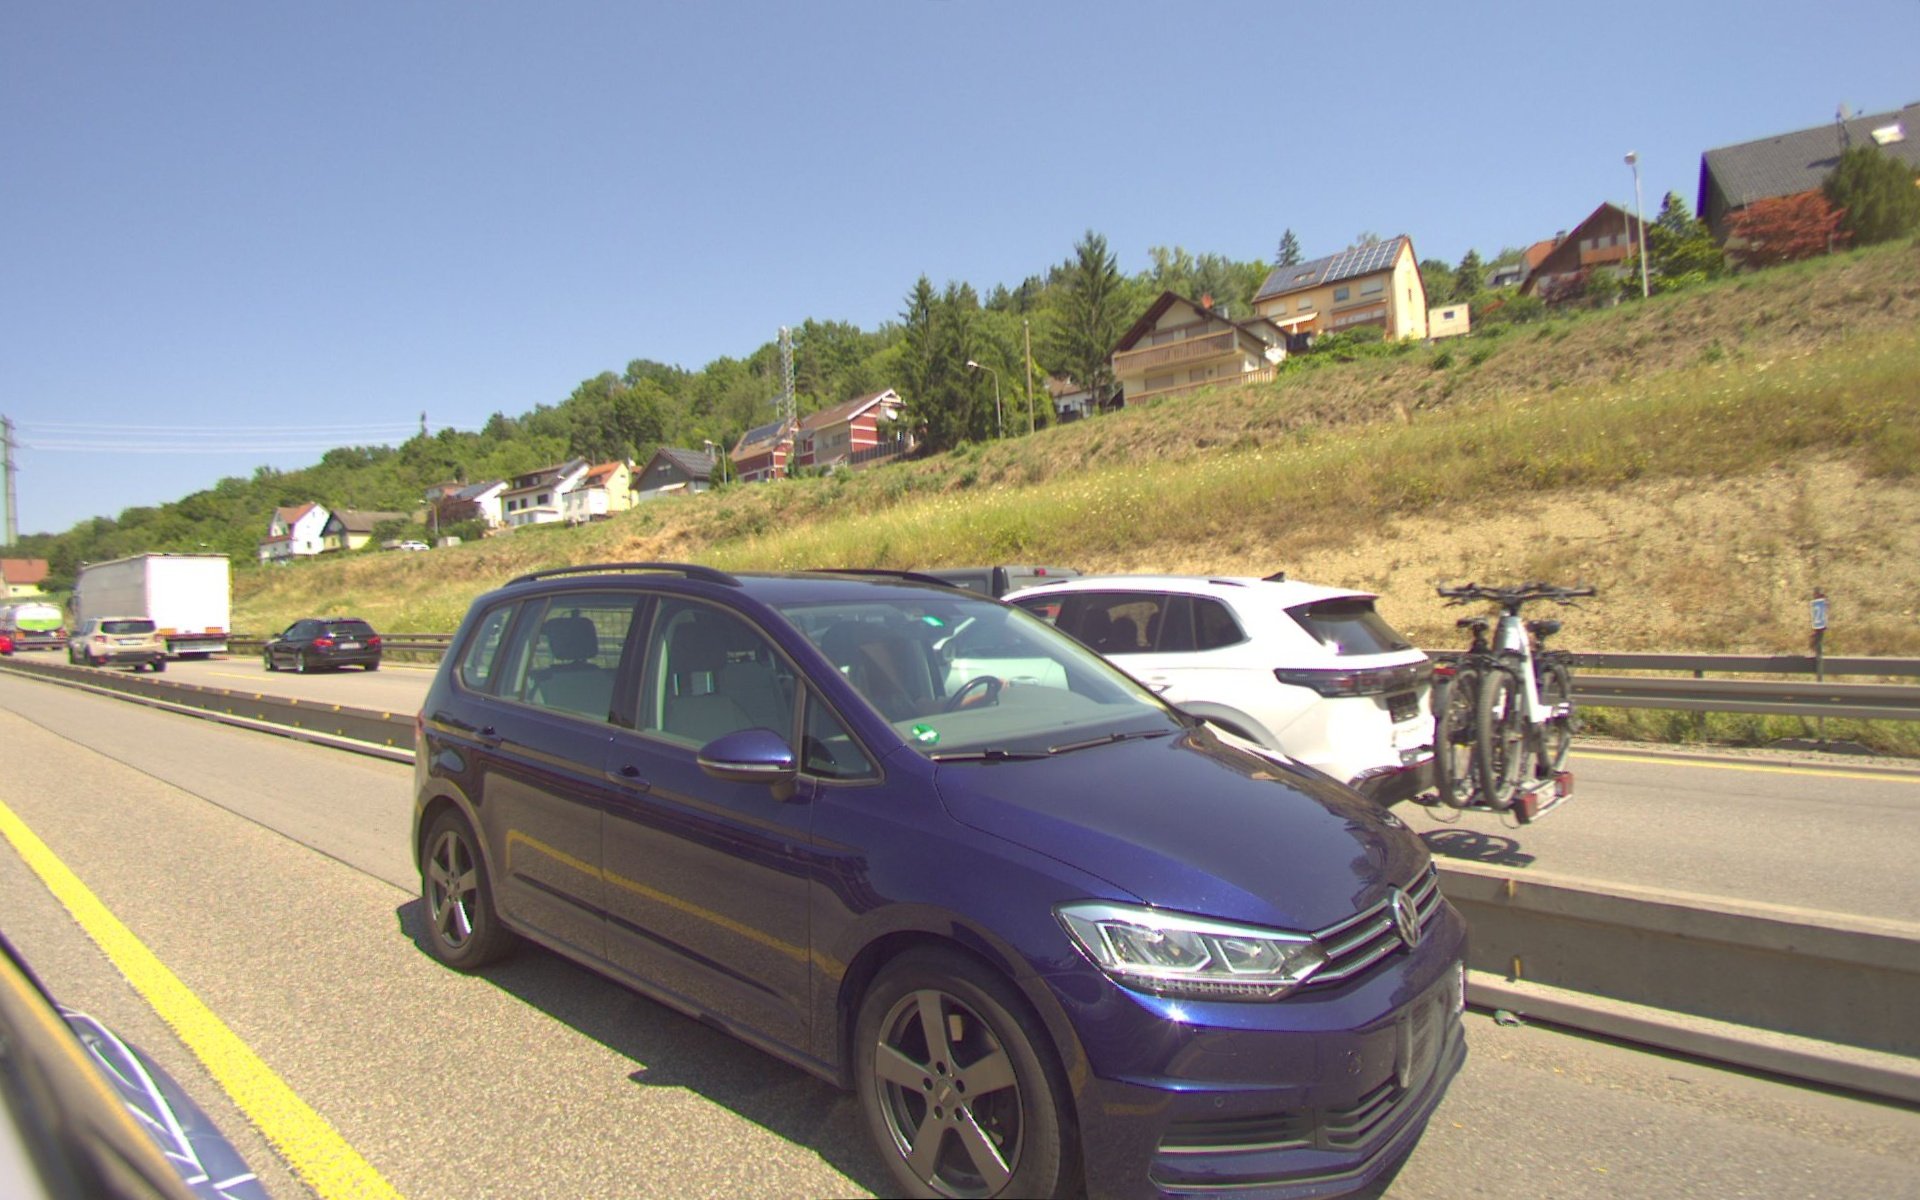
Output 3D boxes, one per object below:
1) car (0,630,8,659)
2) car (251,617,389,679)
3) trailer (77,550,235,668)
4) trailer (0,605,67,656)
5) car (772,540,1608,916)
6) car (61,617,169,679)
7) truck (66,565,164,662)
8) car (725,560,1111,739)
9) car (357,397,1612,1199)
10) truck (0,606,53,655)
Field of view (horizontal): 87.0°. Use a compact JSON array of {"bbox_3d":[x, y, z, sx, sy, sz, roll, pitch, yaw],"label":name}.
[{"bbox_3d":[-50.077,2.283,51.766,3.998,1.477,1.652,-2,-1,41],"label":"car"},{"bbox_3d":[-17.868,1.268,28.160,4.716,1.518,1.973,-1,0,41],"label":"car"},{"bbox_3d":[-33.679,0.479,42.022,13.973,4.213,2.756,-2,-1,42],"label":"trailer"},{"bbox_3d":[-58.969,1.939,64.233,6.367,3.023,2.585,-2,-1,41],"label":"trailer"},{"bbox_3d":[1.140,0.631,6.951,5.367,1.667,1.820,-2,-1,41],"label":"car"},{"bbox_3d":[-25.241,1.374,30.181,4.412,1.679,1.813,-1,-1,41],"label":"car"},{"bbox_3d":[-39.286,0.644,47.012,5.285,4.213,2.717,-2,-1,41],"label":"truck"},{"bbox_3d":[-0.727,0.603,13.403,5.118,1.941,2.017,-2,-2,40],"label":"car"},{"bbox_3d":[-0.459,0.613,3.808,4.650,1.731,1.757,-3,-1,41],"label":"car"},{"bbox_3d":[-64.748,2.090,69.388,8.955,3.166,2.698,-2,-1,41],"label":"truck"}]
